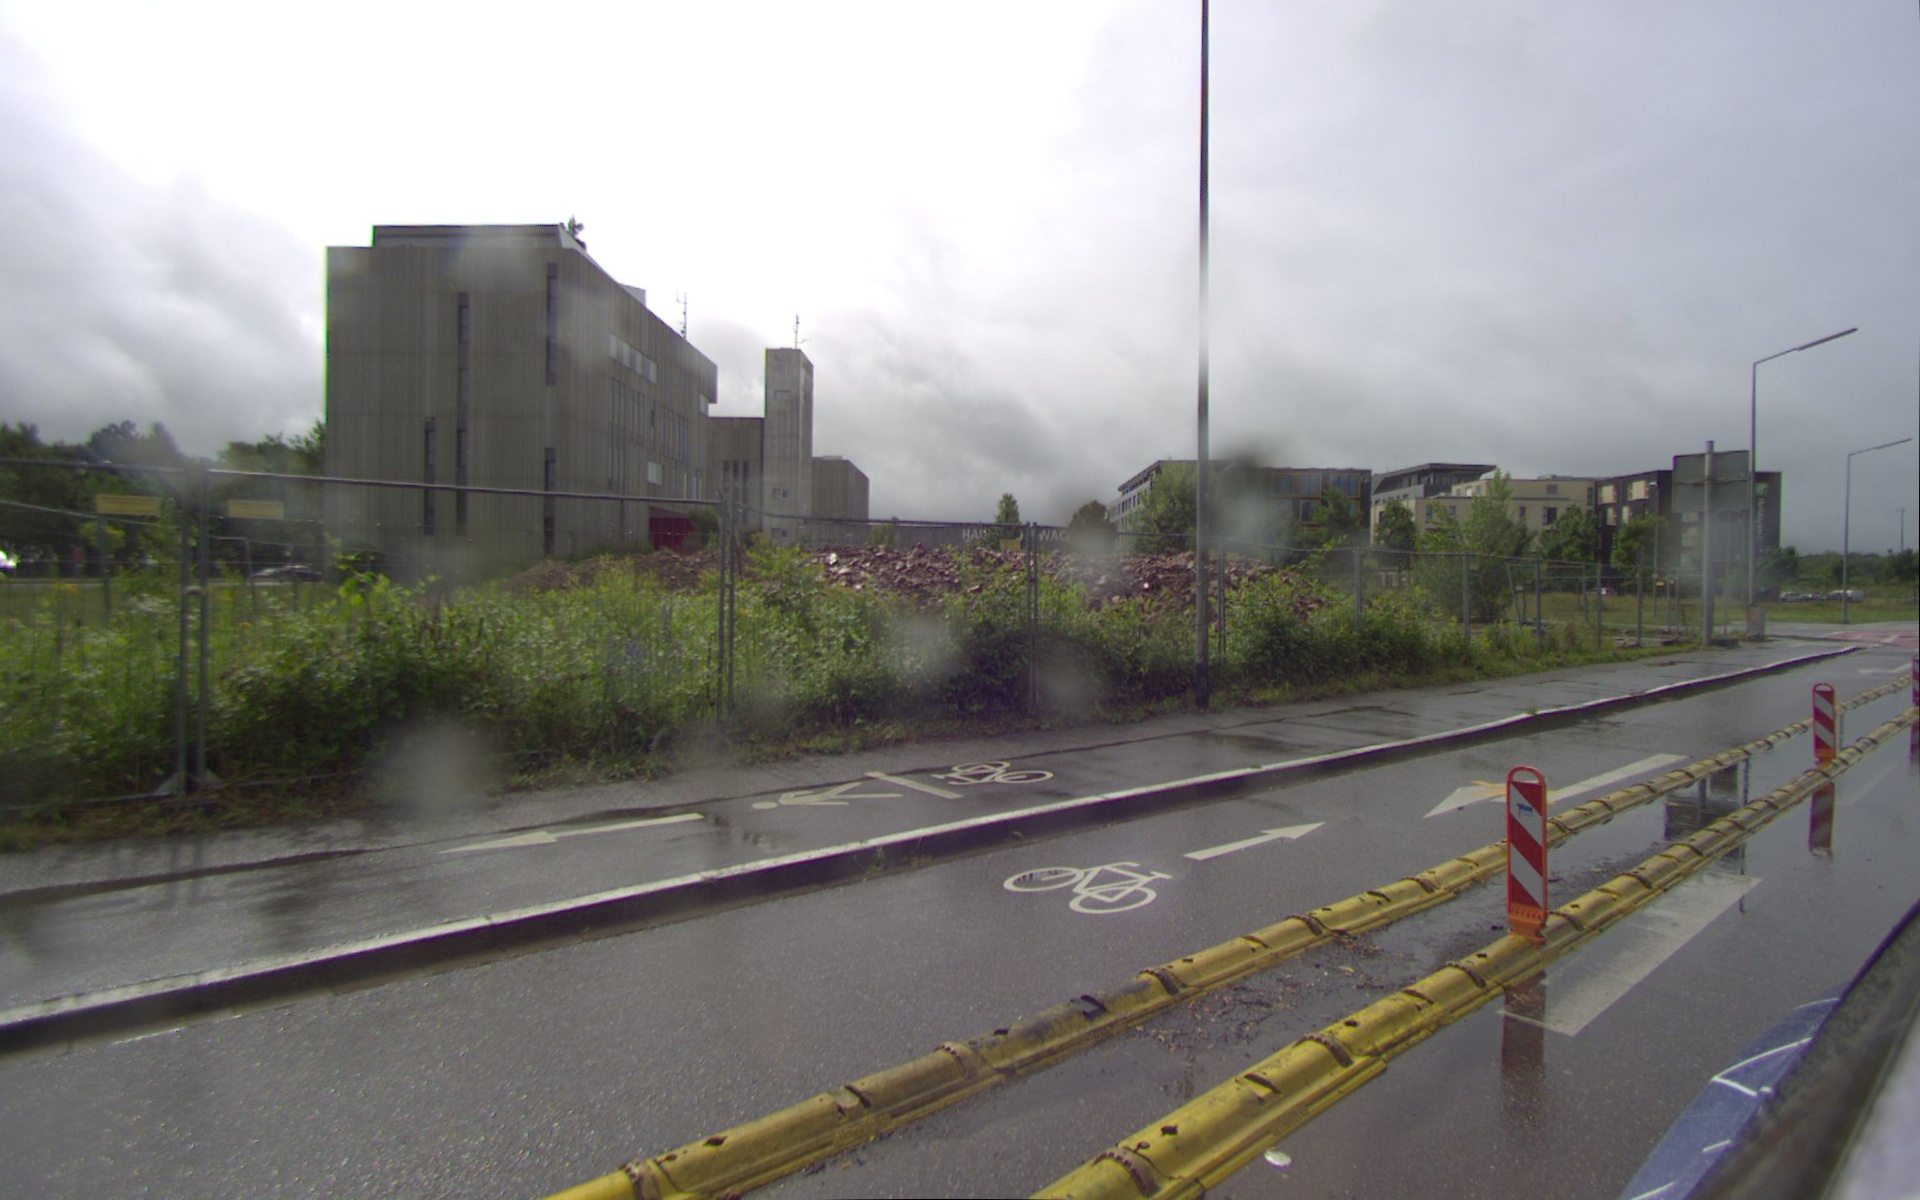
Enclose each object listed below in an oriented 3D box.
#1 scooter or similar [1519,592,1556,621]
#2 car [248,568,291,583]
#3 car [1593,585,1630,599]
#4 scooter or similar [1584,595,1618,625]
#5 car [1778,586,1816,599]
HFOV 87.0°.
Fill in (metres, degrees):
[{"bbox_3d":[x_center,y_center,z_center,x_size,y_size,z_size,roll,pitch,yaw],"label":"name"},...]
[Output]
[{"bbox_3d":[24.357,0.272,42.714,0.731,1.164,1.197,1,1,-8],"label":"scooter or similar"},{"bbox_3d":[-72.338,-2.558,106.064,1.515,1.578,4.233,1,1,3],"label":"car"},{"bbox_3d":[74.108,-0.939,115.083,3.591,1.603,1.652,0,1,-18],"label":"car"},{"bbox_3d":[25.327,0.382,40.015,0.473,1.164,1.197,1,1,-8],"label":"scooter or similar"},{"bbox_3d":[112.573,-1.004,136.128,3.589,1.631,1.596,1,0,9],"label":"car"}]
